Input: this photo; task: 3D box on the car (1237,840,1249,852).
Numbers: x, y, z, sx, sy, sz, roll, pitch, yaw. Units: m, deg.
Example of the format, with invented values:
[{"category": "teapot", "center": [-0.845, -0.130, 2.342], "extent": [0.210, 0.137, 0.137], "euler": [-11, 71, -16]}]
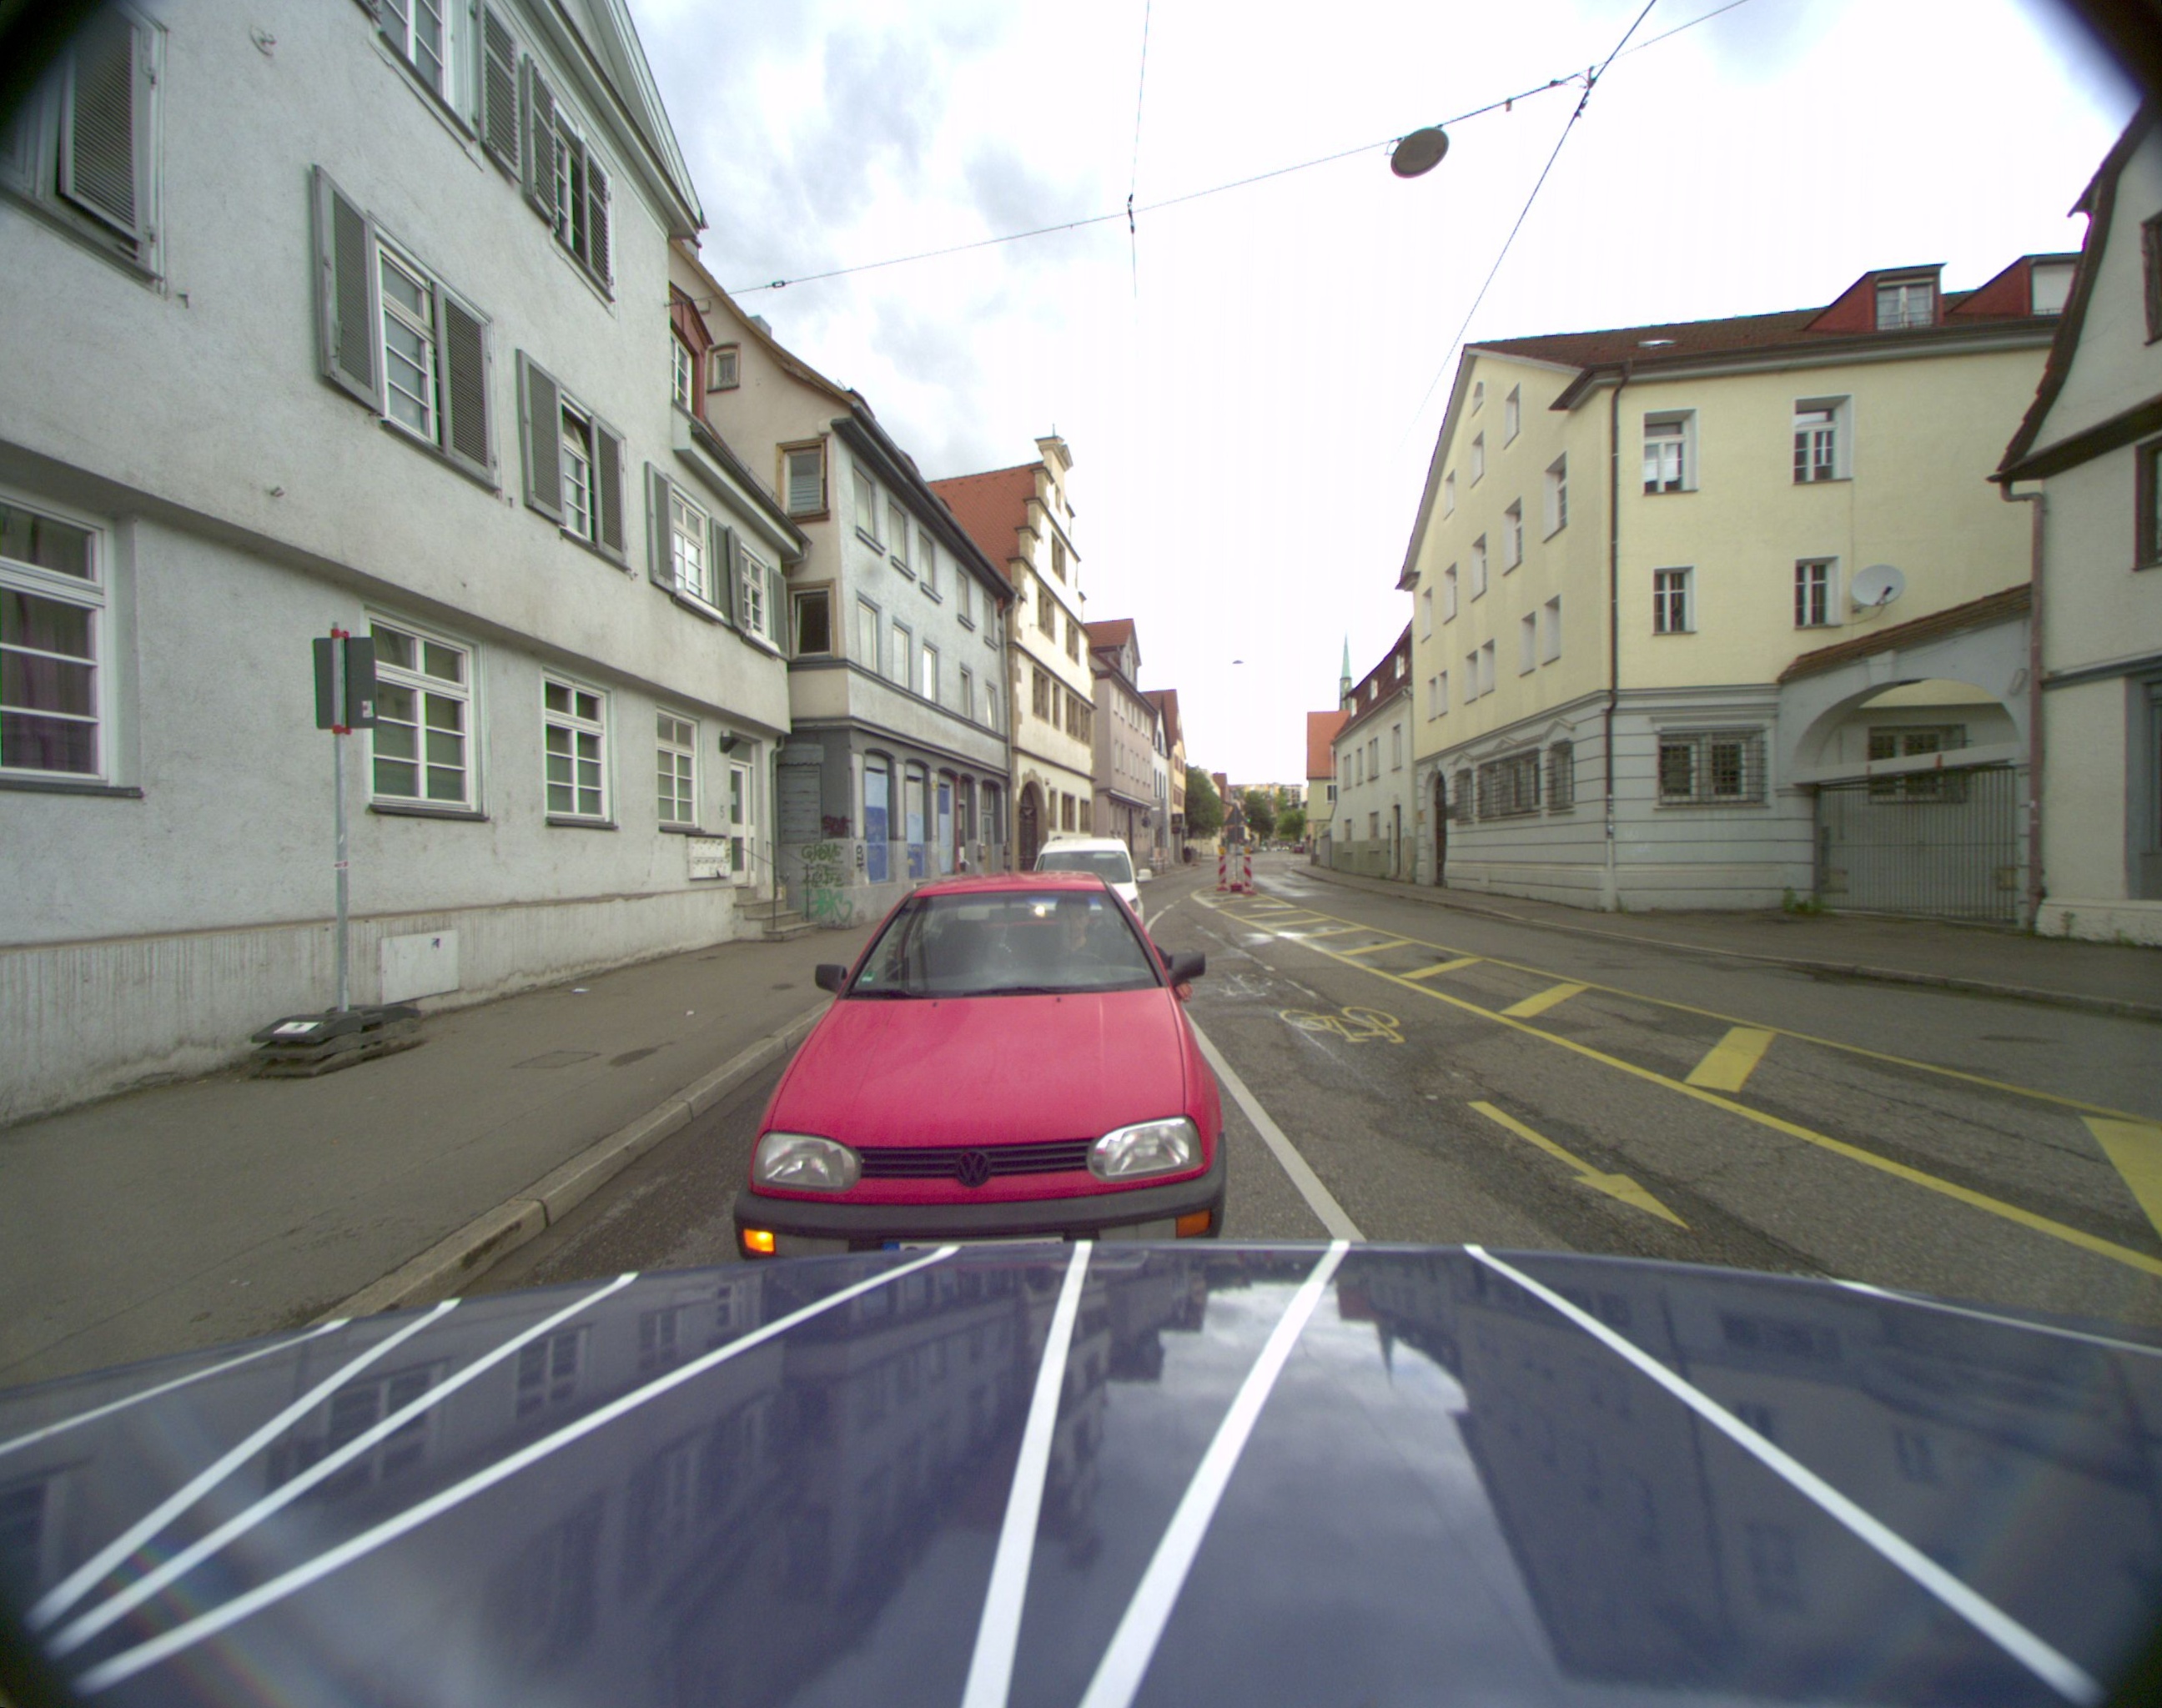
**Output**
[{"category": "car", "center": [28.437, -1.332, 133.496], "extent": [1.996, 2.002, 4.004], "euler": [-1, 0, 13]}]

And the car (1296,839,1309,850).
[{"category": "car", "center": [42.708, -1.764, 146.578], "extent": [2.057, 2.002, 4.004], "euler": [-1, 0, 13]}]

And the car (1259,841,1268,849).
[{"category": "car", "center": [44.933, -2.141, 186.809], "extent": [1.996, 2.002, 4.004], "euler": [-1, 0, 13]}]

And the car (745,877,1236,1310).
[{"category": "car", "center": [-0.322, 0.989, 4.928], "extent": [1.804, 1.458, 4.000], "euler": [-4, 0, 1]}]

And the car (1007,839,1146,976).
[{"category": "car", "center": [-0.027, 0.720, 12.203], "extent": [1.804, 1.781, 4.349], "euler": [-1, 0, 1]}]

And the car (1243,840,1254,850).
[{"category": "car", "center": [34.036, -1.744, 154.257], "extent": [1.996, 2.002, 4.004], "euler": [-1, 0, 13]}]

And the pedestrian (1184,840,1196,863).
[{"category": "pedestrian", "center": [9.178, -0.215, 64.146], "extent": [0.877, 1.888, 0.898], "euler": [-1, 0, 14]}]
